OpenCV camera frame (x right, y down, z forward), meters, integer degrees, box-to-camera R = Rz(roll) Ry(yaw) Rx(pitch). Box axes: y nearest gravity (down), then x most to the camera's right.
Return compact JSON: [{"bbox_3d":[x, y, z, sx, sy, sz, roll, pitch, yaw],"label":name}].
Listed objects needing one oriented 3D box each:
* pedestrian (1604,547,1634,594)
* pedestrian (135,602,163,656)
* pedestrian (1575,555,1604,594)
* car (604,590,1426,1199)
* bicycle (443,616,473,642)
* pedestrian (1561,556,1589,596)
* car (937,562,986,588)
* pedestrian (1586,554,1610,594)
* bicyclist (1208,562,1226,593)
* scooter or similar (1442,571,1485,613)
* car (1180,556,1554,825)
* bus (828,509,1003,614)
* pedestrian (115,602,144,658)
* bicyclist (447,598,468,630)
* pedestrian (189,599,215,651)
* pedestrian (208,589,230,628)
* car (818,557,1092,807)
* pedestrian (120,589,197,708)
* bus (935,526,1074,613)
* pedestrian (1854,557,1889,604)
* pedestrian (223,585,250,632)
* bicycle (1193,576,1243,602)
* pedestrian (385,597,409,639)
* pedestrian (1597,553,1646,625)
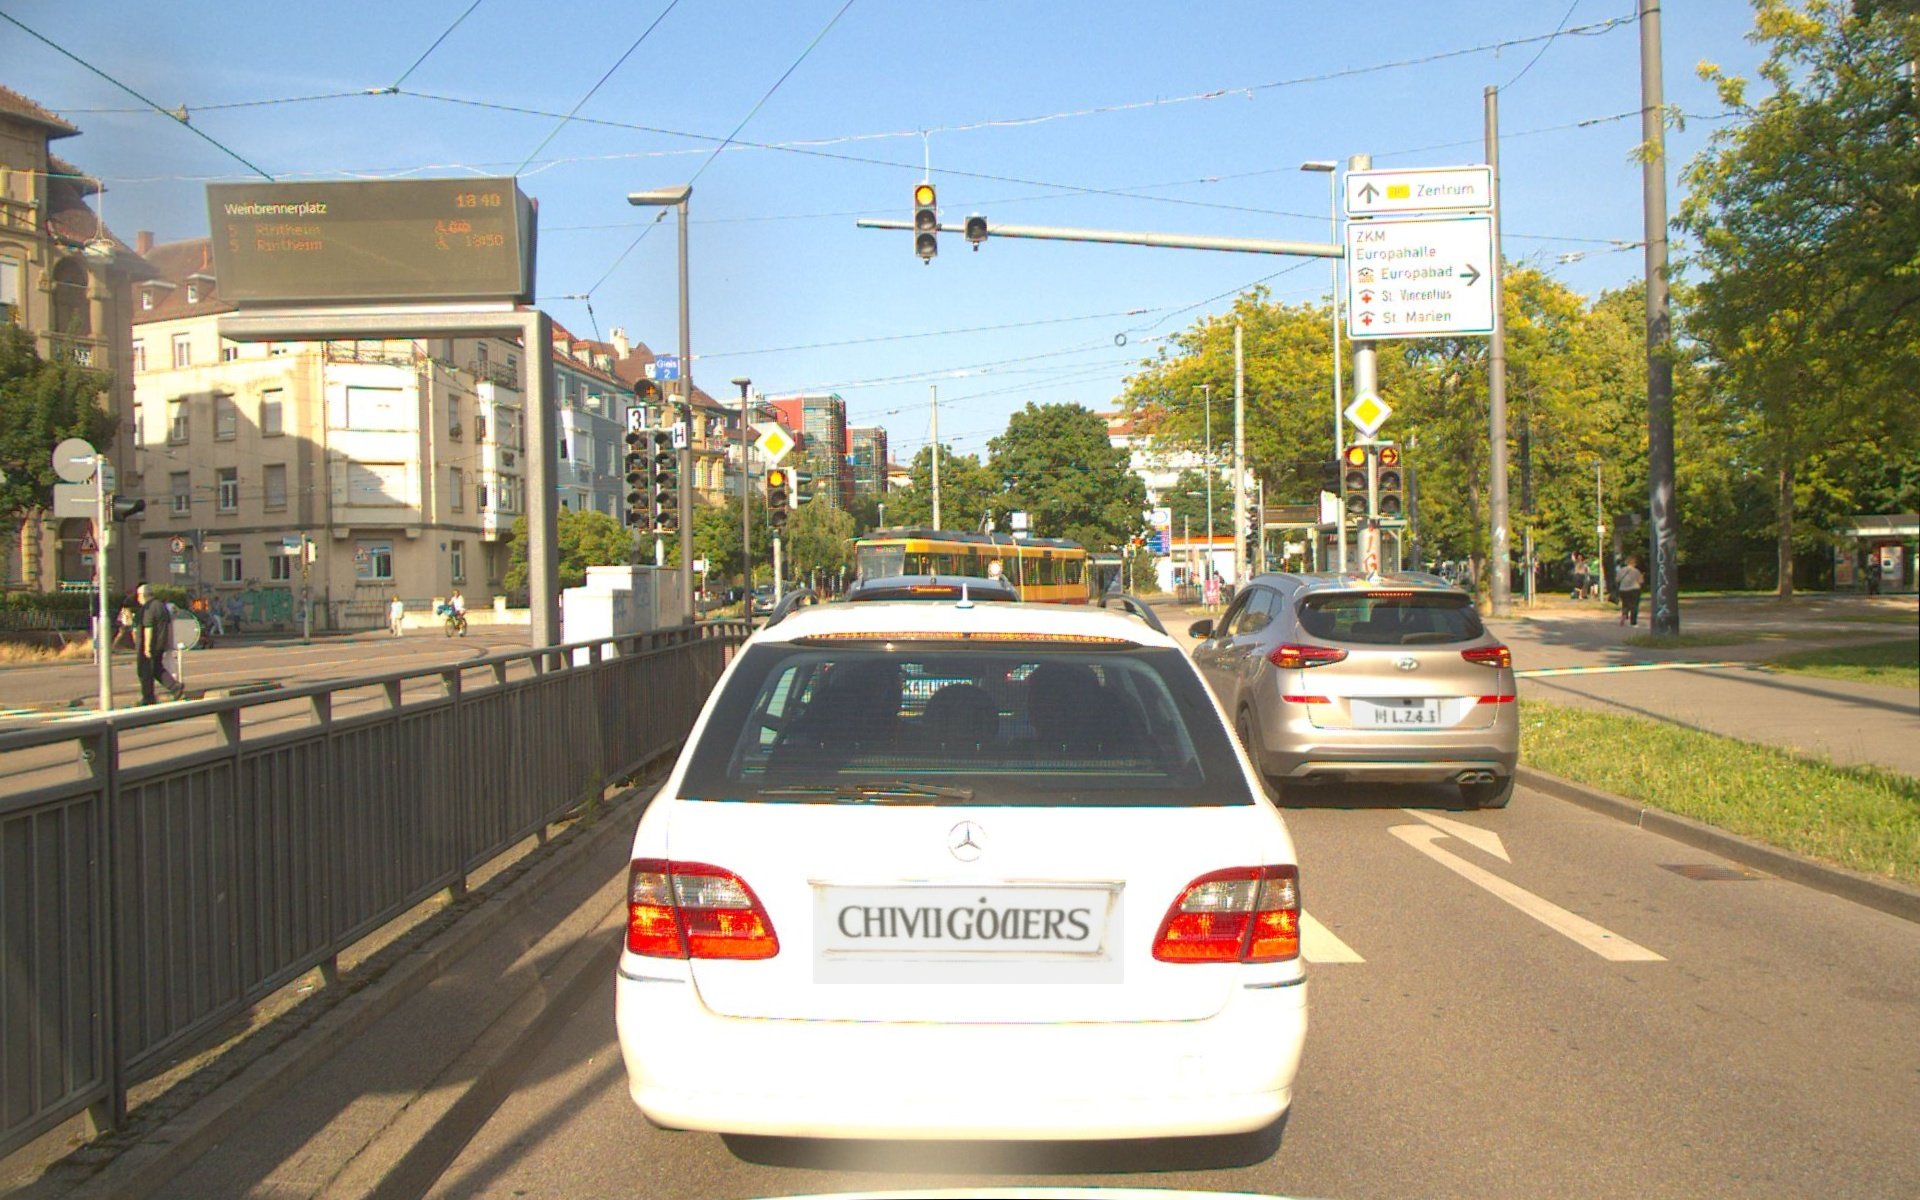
[{"bbox_3d":[25.810,-1.137,64.788,0.784,1.816,0.838,-1,0,-5],"label":"pedestrian"},{"bbox_3d":[-23.018,0.820,46.970,0.428,1.527,0.549,-1,0,14],"label":"pedestrian"},{"bbox_3d":[24.792,-1.007,65.127,0.799,1.513,0.698,-1,0,-12],"label":"pedestrian"},{"bbox_3d":[0.095,0.722,5.368,1.759,1.496,3.647,0,0,-1],"label":"car"},{"bbox_3d":[-17.405,0.985,57.356,0.515,0.849,1.686,-1,0,-1],"label":"bicycle"},{"bbox_3d":[23.985,-0.941,64.506,0.809,1.513,0.690,-2,0,-42],"label":"pedestrian"},{"bbox_3d":[0.127,-2.059,135.068,3.906,2.049,1.999,1,0,-2],"label":"car"},{"bbox_3d":[24.533,-0.987,63.611,0.797,1.513,0.700,-1,0,24],"label":"pedestrian"},{"bbox_3d":[12.749,-1.109,82.125,0.842,1.507,0.790,-1,0,6],"label":"bicyclist"},{"bbox_3d":[13.999,-0.213,46.013,0.413,1.136,1.322,-1,0,-20],"label":"scooter or similar"},{"bbox_3d":[2.868,0.571,12.485,1.846,1.680,3.647,-2,0,-1],"label":"car"},{"bbox_3d":[-1.419,-1.334,64.128,3.043,3.669,12.381,1,0,17],"label":"bus"},{"bbox_3d":[-23.289,0.835,46.387,0.428,1.527,0.549,-1,0,14],"label":"pedestrian"},{"bbox_3d":[-17.417,0.480,57.339,0.502,1.062,0.679,-1,0,-1],"label":"bicyclist"},{"bbox_3d":[-22.656,0.739,49.438,0.523,1.527,0.389,-1,0,14],"label":"pedestrian"},{"bbox_3d":[-32.436,0.376,72.363,0.606,1.689,0.586,-1,0,14],"label":"pedestrian"},{"bbox_3d":[-0.055,0.550,13.124,1.846,1.680,3.647,1,0,-1],"label":"car"},{"bbox_3d":[-11.672,0.690,24.093,0.788,1.674,0.745,-2,0,-45],"label":"pedestrian"},{"bbox_3d":[2.273,-1.269,76.120,3.043,3.669,12.597,1,0,17],"label":"bus"},{"bbox_3d":[32.658,-0.693,59.266,0.818,1.665,0.803,-1,0,5],"label":"pedestrian"},{"bbox_3d":[-32.049,0.374,73.271,0.758,2.049,0.787,-1,0,14],"label":"pedestrian"},{"bbox_3d":[12.809,-0.541,82.139,2.430,1.234,0.807,-1,0,7],"label":"bicycle"},{"bbox_3d":[-20.950,0.667,61.594,0.616,1.568,0.711,-1,0,-1],"label":"pedestrian"},{"bbox_3d":[15.741,-0.263,39.341,0.748,1.665,0.797,-2,0,-40],"label":"pedestrian"}]
